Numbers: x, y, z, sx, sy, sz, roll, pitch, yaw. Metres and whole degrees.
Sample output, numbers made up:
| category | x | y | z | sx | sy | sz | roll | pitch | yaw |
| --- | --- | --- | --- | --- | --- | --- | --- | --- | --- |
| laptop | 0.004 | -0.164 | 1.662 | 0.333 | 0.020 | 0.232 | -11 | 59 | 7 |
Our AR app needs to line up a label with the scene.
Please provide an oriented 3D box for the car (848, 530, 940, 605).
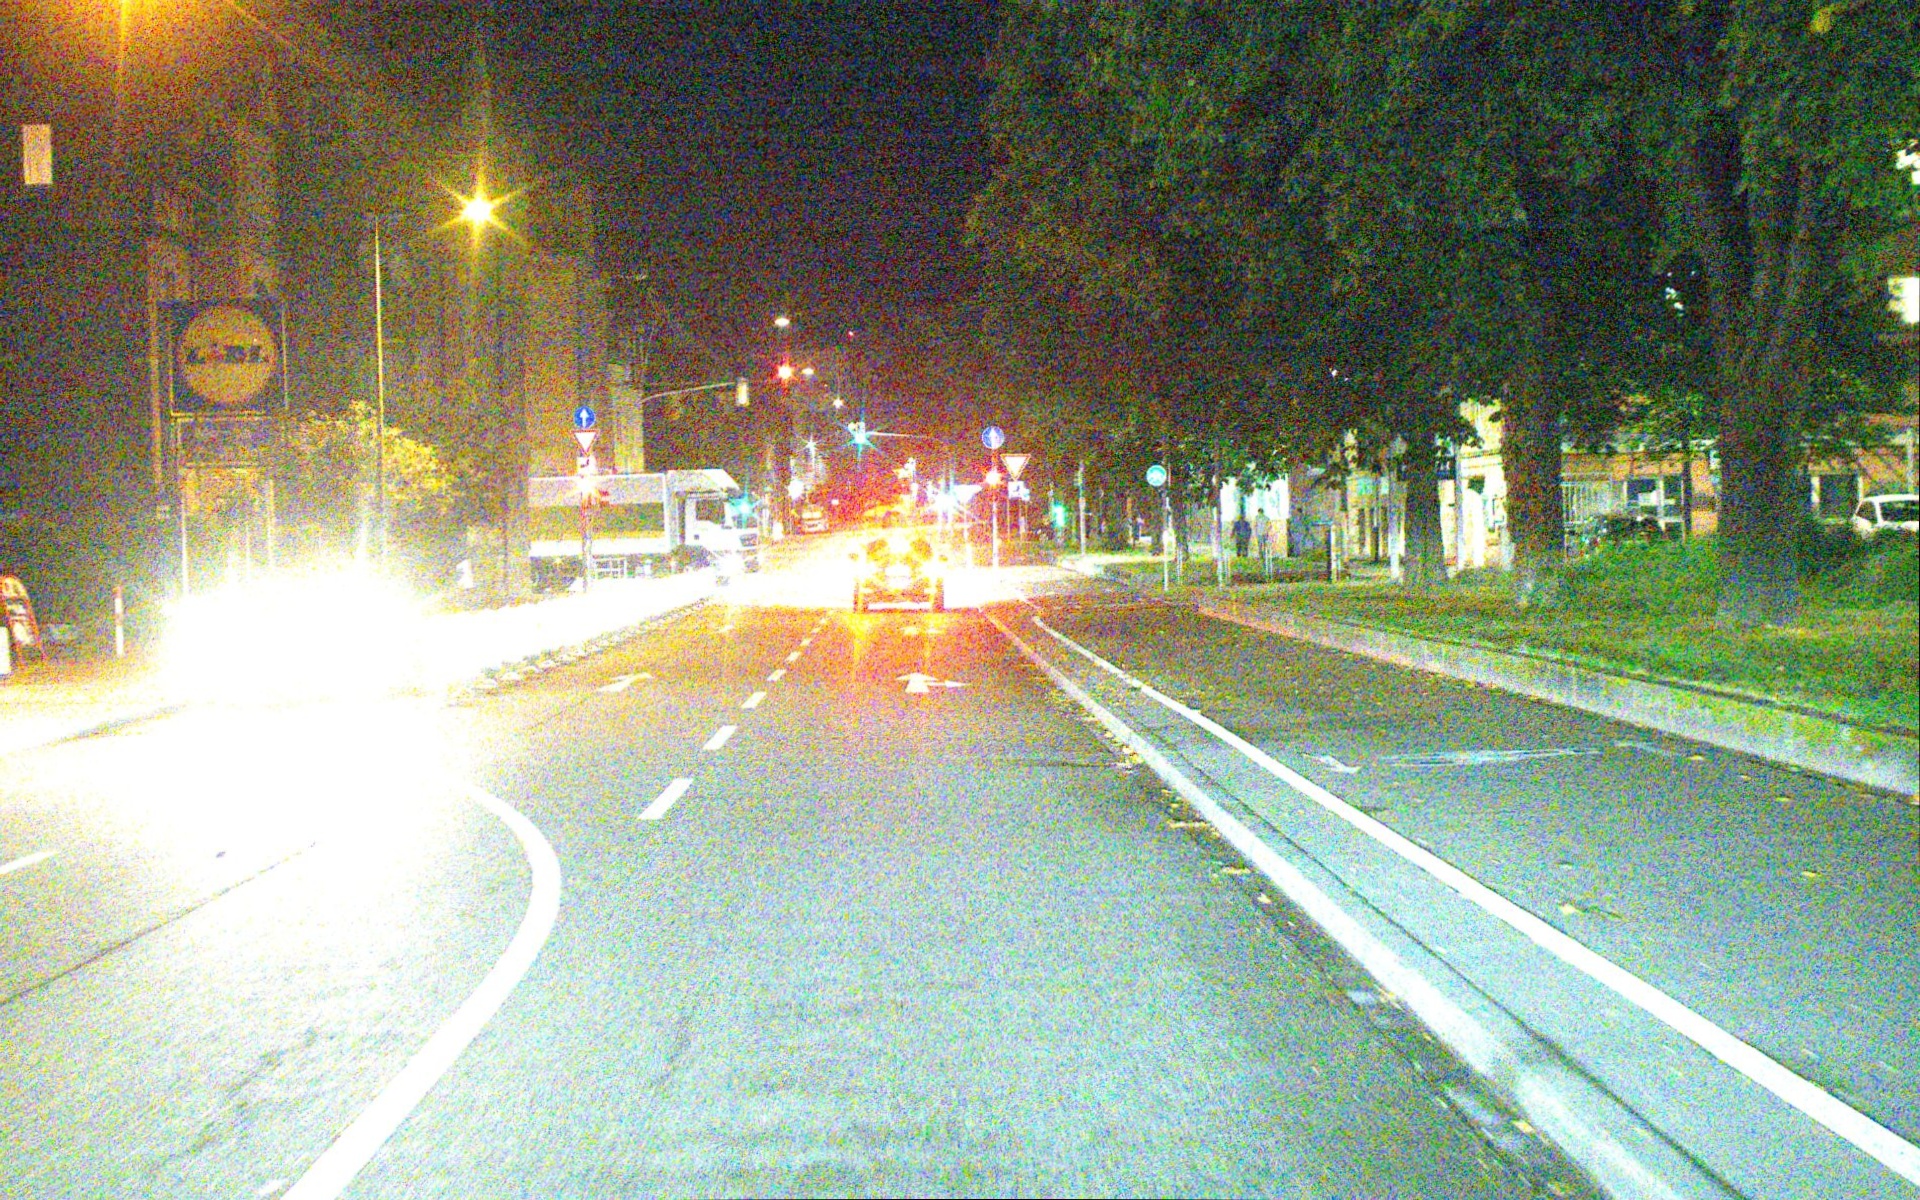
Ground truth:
| category | x | y | z | sx | sy | sz | roll | pitch | yaw |
| --- | --- | --- | --- | --- | --- | --- | --- | --- | --- |
| car | -1.320 | -0.690 | 70.253 | 1.805 | 1.489 | 4.730 | 0 | 1 | 0 |

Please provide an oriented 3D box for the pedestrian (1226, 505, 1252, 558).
| category | x | y | z | sx | sy | sz | roll | pitch | yaw |
| --- | --- | --- | --- | --- | --- | --- | --- | --- | --- |
| pedestrian | 9.322 | -2.291 | 114.979 | 0.714 | 1.763 | 0.907 | -3 | 1 | -1 |

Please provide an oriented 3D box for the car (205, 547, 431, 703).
| category | x | y | z | sx | sy | sz | roll | pitch | yaw |
| --- | --- | --- | --- | --- | --- | --- | --- | --- | --- |
| car | -6.656 | 0.217 | 35.991 | 1.667 | 1.423 | 4.001 | -3 | 1 | -2 |

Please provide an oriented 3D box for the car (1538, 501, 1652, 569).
| category | x | y | z | sx | sy | sz | roll | pitch | yaw |
| --- | --- | --- | --- | --- | --- | --- | --- | --- | --- |
| car | 13.888 | -1.419 | 75.339 | 1.512 | 1.390 | 4.482 | -2 | 1 | -2 |

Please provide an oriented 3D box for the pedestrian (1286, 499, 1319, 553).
| category | x | y | z | sx | sy | sz | roll | pitch | yaw |
| --- | --- | --- | --- | --- | --- | --- | --- | --- | --- |
| pedestrian | 11.475 | -2.481 | 115.101 | 0.901 | 1.763 | 0.907 | -3 | 1 | -3 |

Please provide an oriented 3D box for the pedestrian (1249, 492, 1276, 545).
| category | x | y | z | sx | sy | sz | roll | pitch | yaw |
| --- | --- | --- | --- | --- | --- | --- | --- | --- | --- |
| pedestrian | 10.127 | -2.726 | 114.992 | 0.738 | 1.763 | 0.907 | -3 | 1 | -1 |

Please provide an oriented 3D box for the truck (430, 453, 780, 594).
| category | x | y | z | sx | sy | sz | roll | pitch | yaw |
| --- | --- | --- | --- | --- | --- | --- | --- | --- | --- |
| truck | -10.790 | -2.325 | 104.552 | 10.086 | 3.705 | 2.762 | -3 | 1 | 16 |

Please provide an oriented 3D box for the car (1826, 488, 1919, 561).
| category | x | y | z | sx | sy | sz | roll | pitch | yaw |
| --- | --- | --- | --- | --- | --- | --- | --- | --- | --- |
| car | 20.610 | -1.672 | 75.553 | 1.781 | 1.528 | 4.001 | -2 | 1 | -6 |
